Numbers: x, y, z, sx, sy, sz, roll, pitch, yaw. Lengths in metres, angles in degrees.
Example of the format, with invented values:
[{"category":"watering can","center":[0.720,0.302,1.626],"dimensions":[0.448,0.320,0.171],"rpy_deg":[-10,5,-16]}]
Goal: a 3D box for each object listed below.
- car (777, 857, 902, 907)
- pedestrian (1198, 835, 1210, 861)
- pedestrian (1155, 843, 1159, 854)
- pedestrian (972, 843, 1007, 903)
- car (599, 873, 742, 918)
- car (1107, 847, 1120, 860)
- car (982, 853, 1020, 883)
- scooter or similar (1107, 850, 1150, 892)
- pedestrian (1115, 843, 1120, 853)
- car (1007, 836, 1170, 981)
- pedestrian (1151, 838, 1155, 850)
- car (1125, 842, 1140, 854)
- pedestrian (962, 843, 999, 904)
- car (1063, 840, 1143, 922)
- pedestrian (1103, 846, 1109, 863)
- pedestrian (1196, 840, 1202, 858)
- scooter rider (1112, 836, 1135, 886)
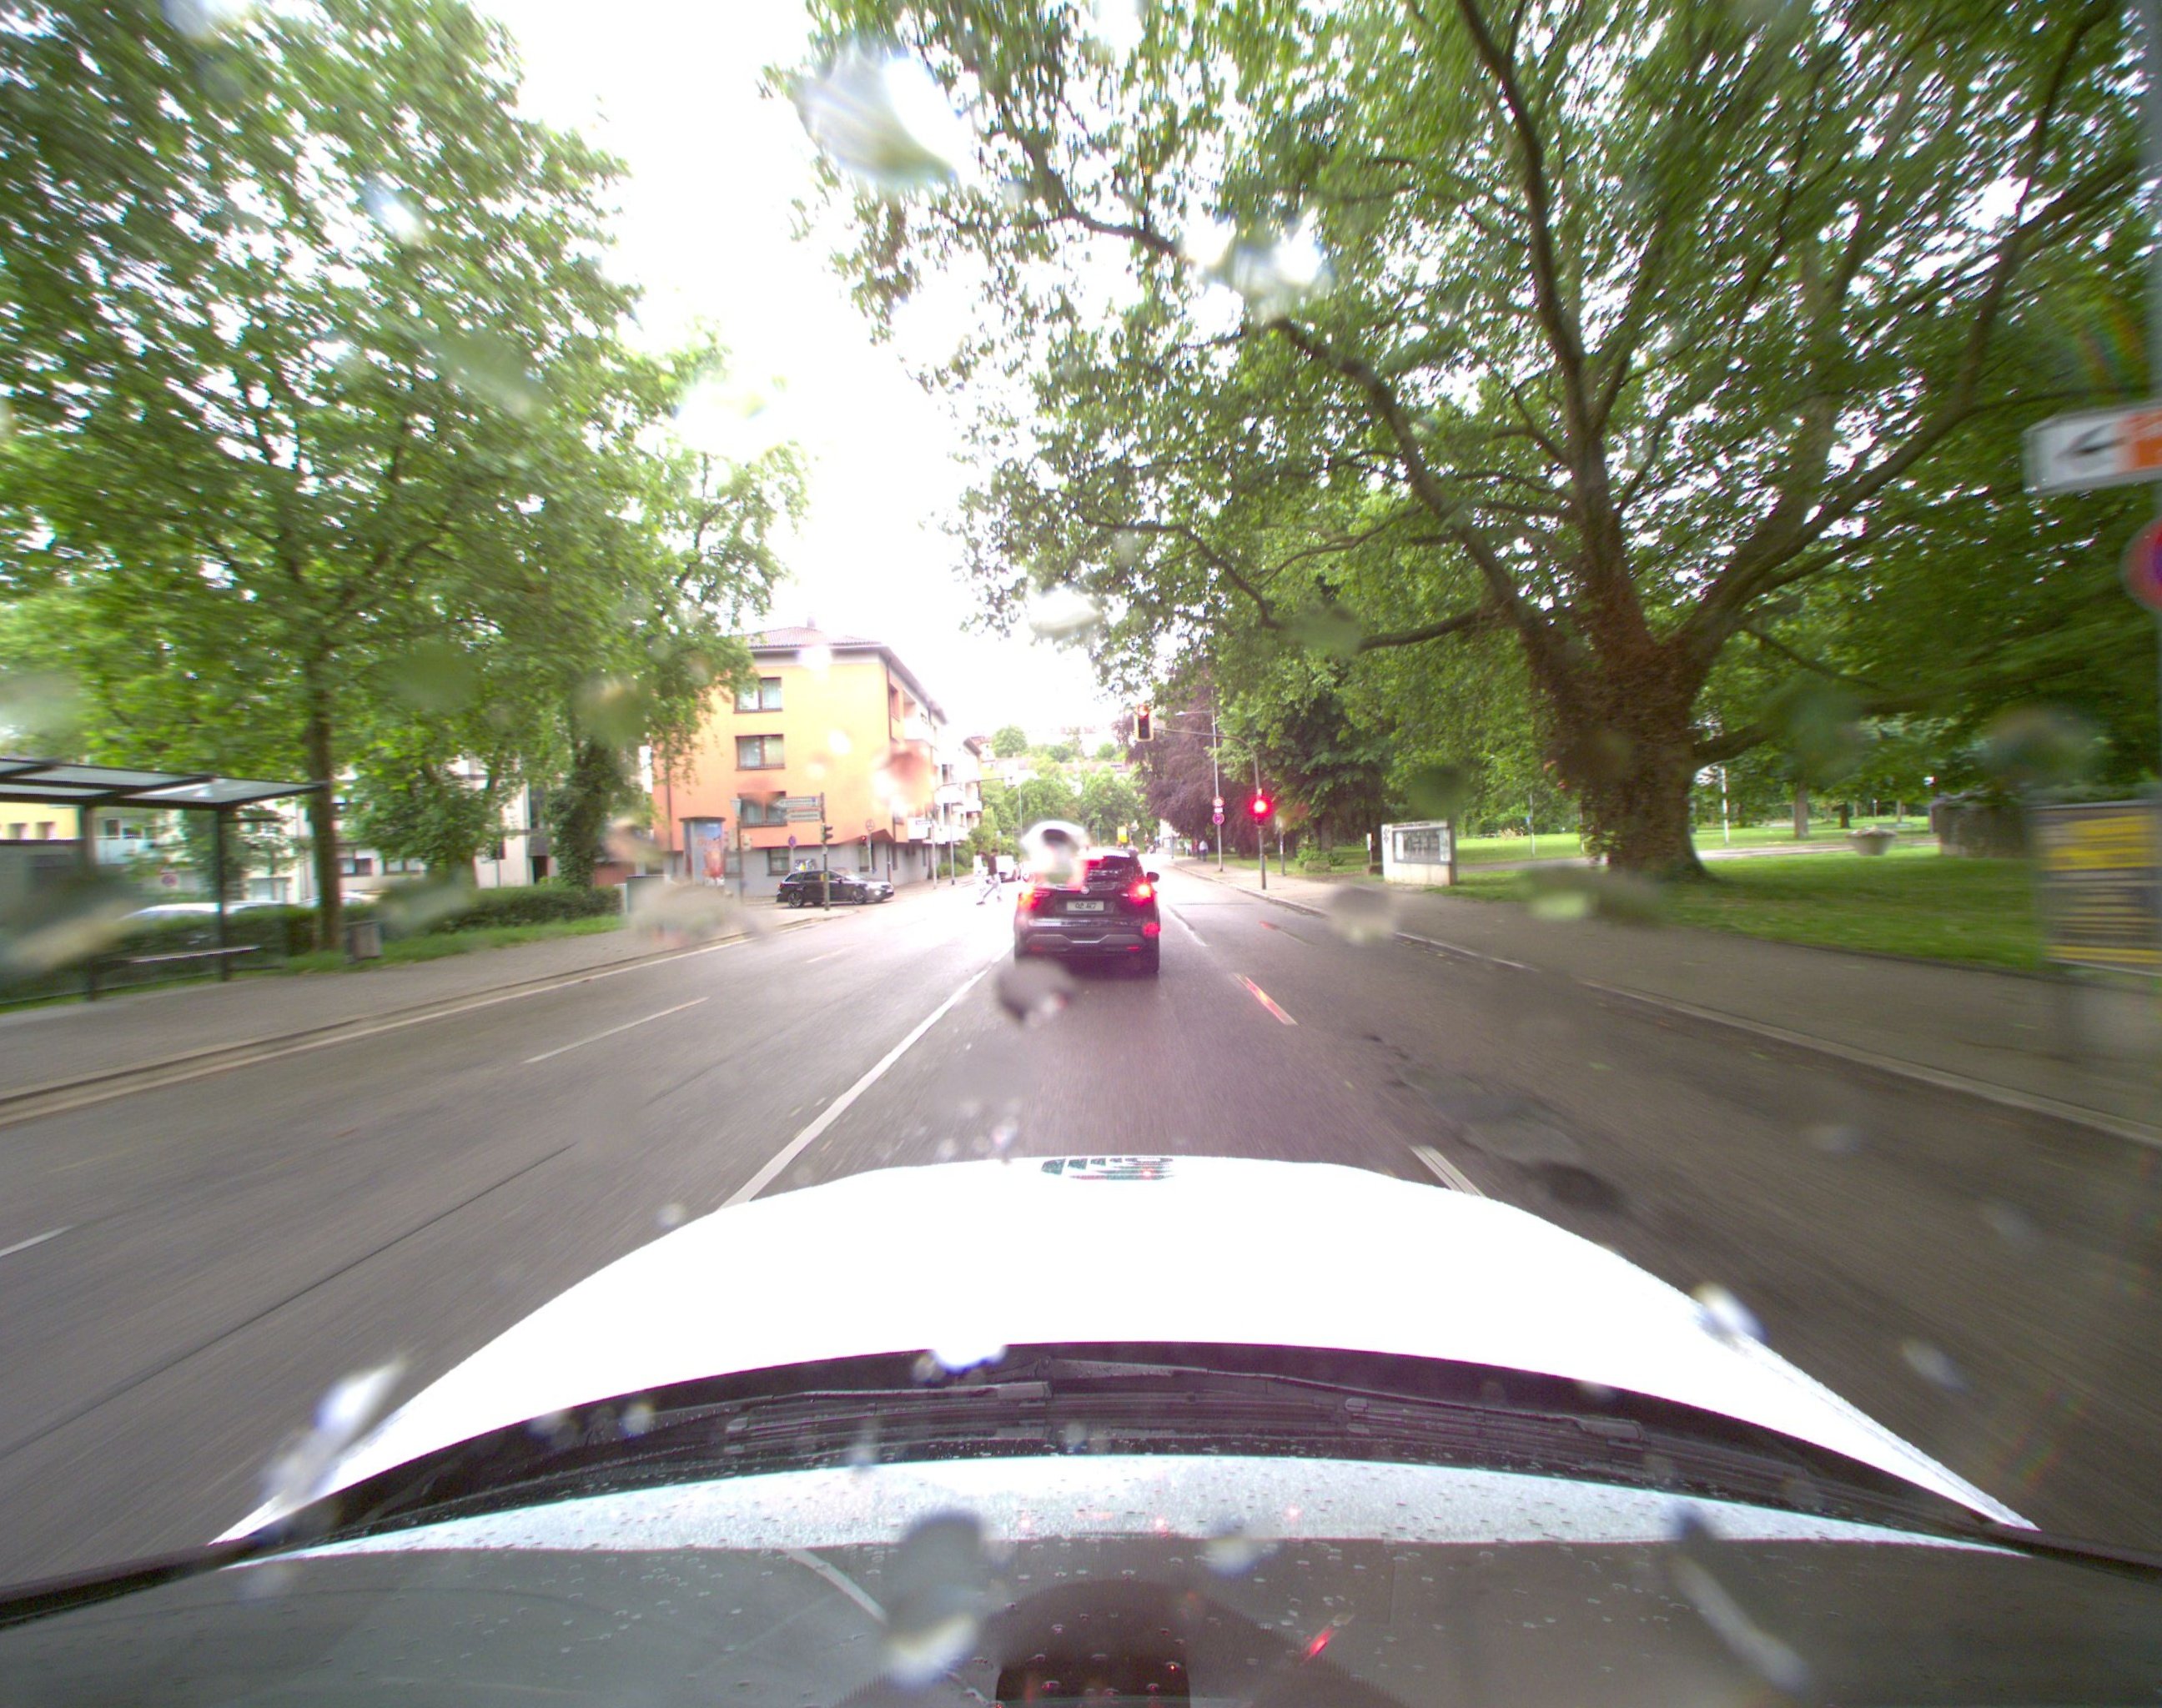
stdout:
[{"category":"car","center":[-9.243,1.070,31.340],"dimensions":[4.100,1.625,1.856],"rpy_deg":[-3,0,8]},{"category":"pedestrian","center":[9.604,-0.450,63.662],"dimensions":[0.722,2.013,0.852],"rpy_deg":[-3,0,2]},{"category":"pedestrian","center":[12.642,-0.991,135.126],"dimensions":[0.507,1.802,0.619],"rpy_deg":[-3,0,1]},{"category":"pedestrian","center":[-3.012,0.623,26.780],"dimensions":[1.035,1.876,0.656],"rpy_deg":[-3,0,-9]},{"category":"car","center":[-16.110,1.623,32.085],"dimensions":[4.616,1.403,1.833],"rpy_deg":[-3,0,2]},{"category":"car","center":[4.151,-0.061,104.357],"dimensions":[1.628,1.532,3.969],"rpy_deg":[-3,0,2]},{"category":"car","center":[-4.543,0.748,46.577],"dimensions":[1.791,1.533,3.865],"rpy_deg":[-3,0,-2]},{"category":"scooter or similar","center":[1.729,0.628,29.564],"dimensions":[1.384,1.446,0.820],"rpy_deg":[-3,-1,14]},{"category":"pedestrian","center":[6.359,-0.960,140.671],"dimensions":[0.503,1.673,0.663],"rpy_deg":[-3,0,30]},{"category":"car","center":[0.158,0.633,11.622],"dimensions":[1.906,1.680,4.002],"rpy_deg":[-1,0,2]},{"category":"pedestrian","center":[11.970,-1.656,135.080],"dimensions":[0.506,1.802,0.620],"rpy_deg":[-3,0,2]},{"category":"car","center":[7.404,-0.845,116.384],"dimensions":[1.983,1.735,4.008],"rpy_deg":[0,0,7]},{"category":"pedestrian","center":[-3.218,0.622,26.038],"dimensions":[1.035,1.876,0.656],"rpy_deg":[-3,0,-9]},{"category":"car","center":[0.552,0.602,20.102],"dimensions":[1.692,1.745,3.642],"rpy_deg":[-3,0,2]},{"category":"pedestrian","center":[2.736,0.073,89.261],"dimensions":[0.509,1.802,0.617],"rpy_deg":[-3,0,-13]},{"category":"pedestrian","center":[9.820,-0.394,67.901],"dimensions":[0.388,1.502,0.559],"rpy_deg":[-3,0,2]},{"category":"scooter rider","center":[1.565,0.263,29.598],"dimensions":[0.639,1.766,0.738],"rpy_deg":[-2,-1,14]}]
